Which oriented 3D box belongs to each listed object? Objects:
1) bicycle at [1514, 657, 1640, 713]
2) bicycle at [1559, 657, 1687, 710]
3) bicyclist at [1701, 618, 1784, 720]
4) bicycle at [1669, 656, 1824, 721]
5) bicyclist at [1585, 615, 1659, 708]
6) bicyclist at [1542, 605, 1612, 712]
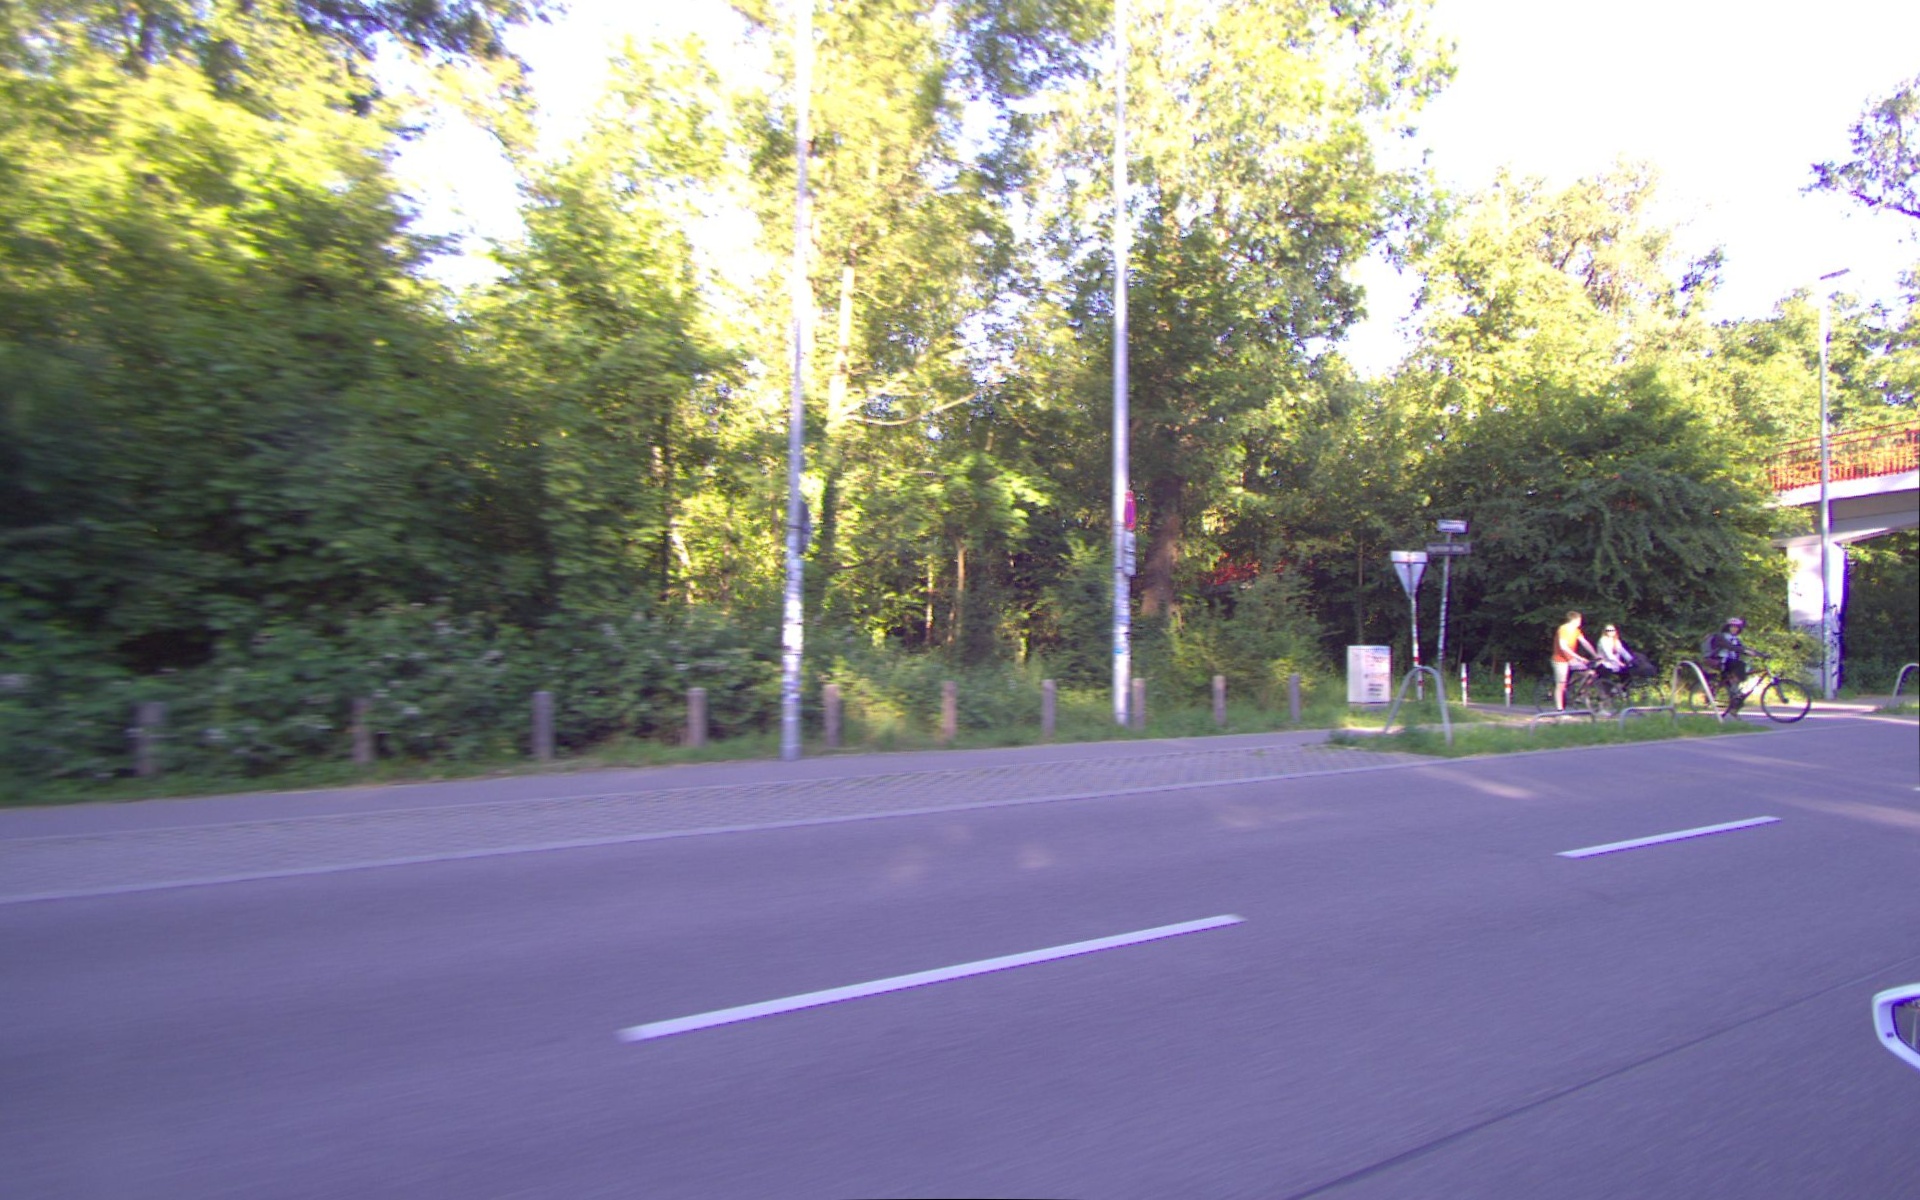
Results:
[{"bbox_3d":[11.461,1.561,18.737,0.812,0.947,1.925,1,-2,-20],"label":"bicycle"},{"bbox_3d":[12.640,1.571,19.225,0.812,0.946,1.925,1,-3,-20],"label":"bicycle"},{"bbox_3d":[13.209,1.145,16.967,0.828,1.665,0.794,1,-1,-20],"label":"bicyclist"},{"bbox_3d":[13.212,1.460,16.947,0.812,0.947,1.924,1,-1,-19],"label":"bicycle"},{"bbox_3d":[12.647,1.160,19.204,0.931,1.719,0.794,1,-1,-20],"label":"bicyclist"},{"bbox_3d":[11.486,1.072,18.713,0.805,1.926,0.794,1,-1,-20],"label":"bicyclist"}]
